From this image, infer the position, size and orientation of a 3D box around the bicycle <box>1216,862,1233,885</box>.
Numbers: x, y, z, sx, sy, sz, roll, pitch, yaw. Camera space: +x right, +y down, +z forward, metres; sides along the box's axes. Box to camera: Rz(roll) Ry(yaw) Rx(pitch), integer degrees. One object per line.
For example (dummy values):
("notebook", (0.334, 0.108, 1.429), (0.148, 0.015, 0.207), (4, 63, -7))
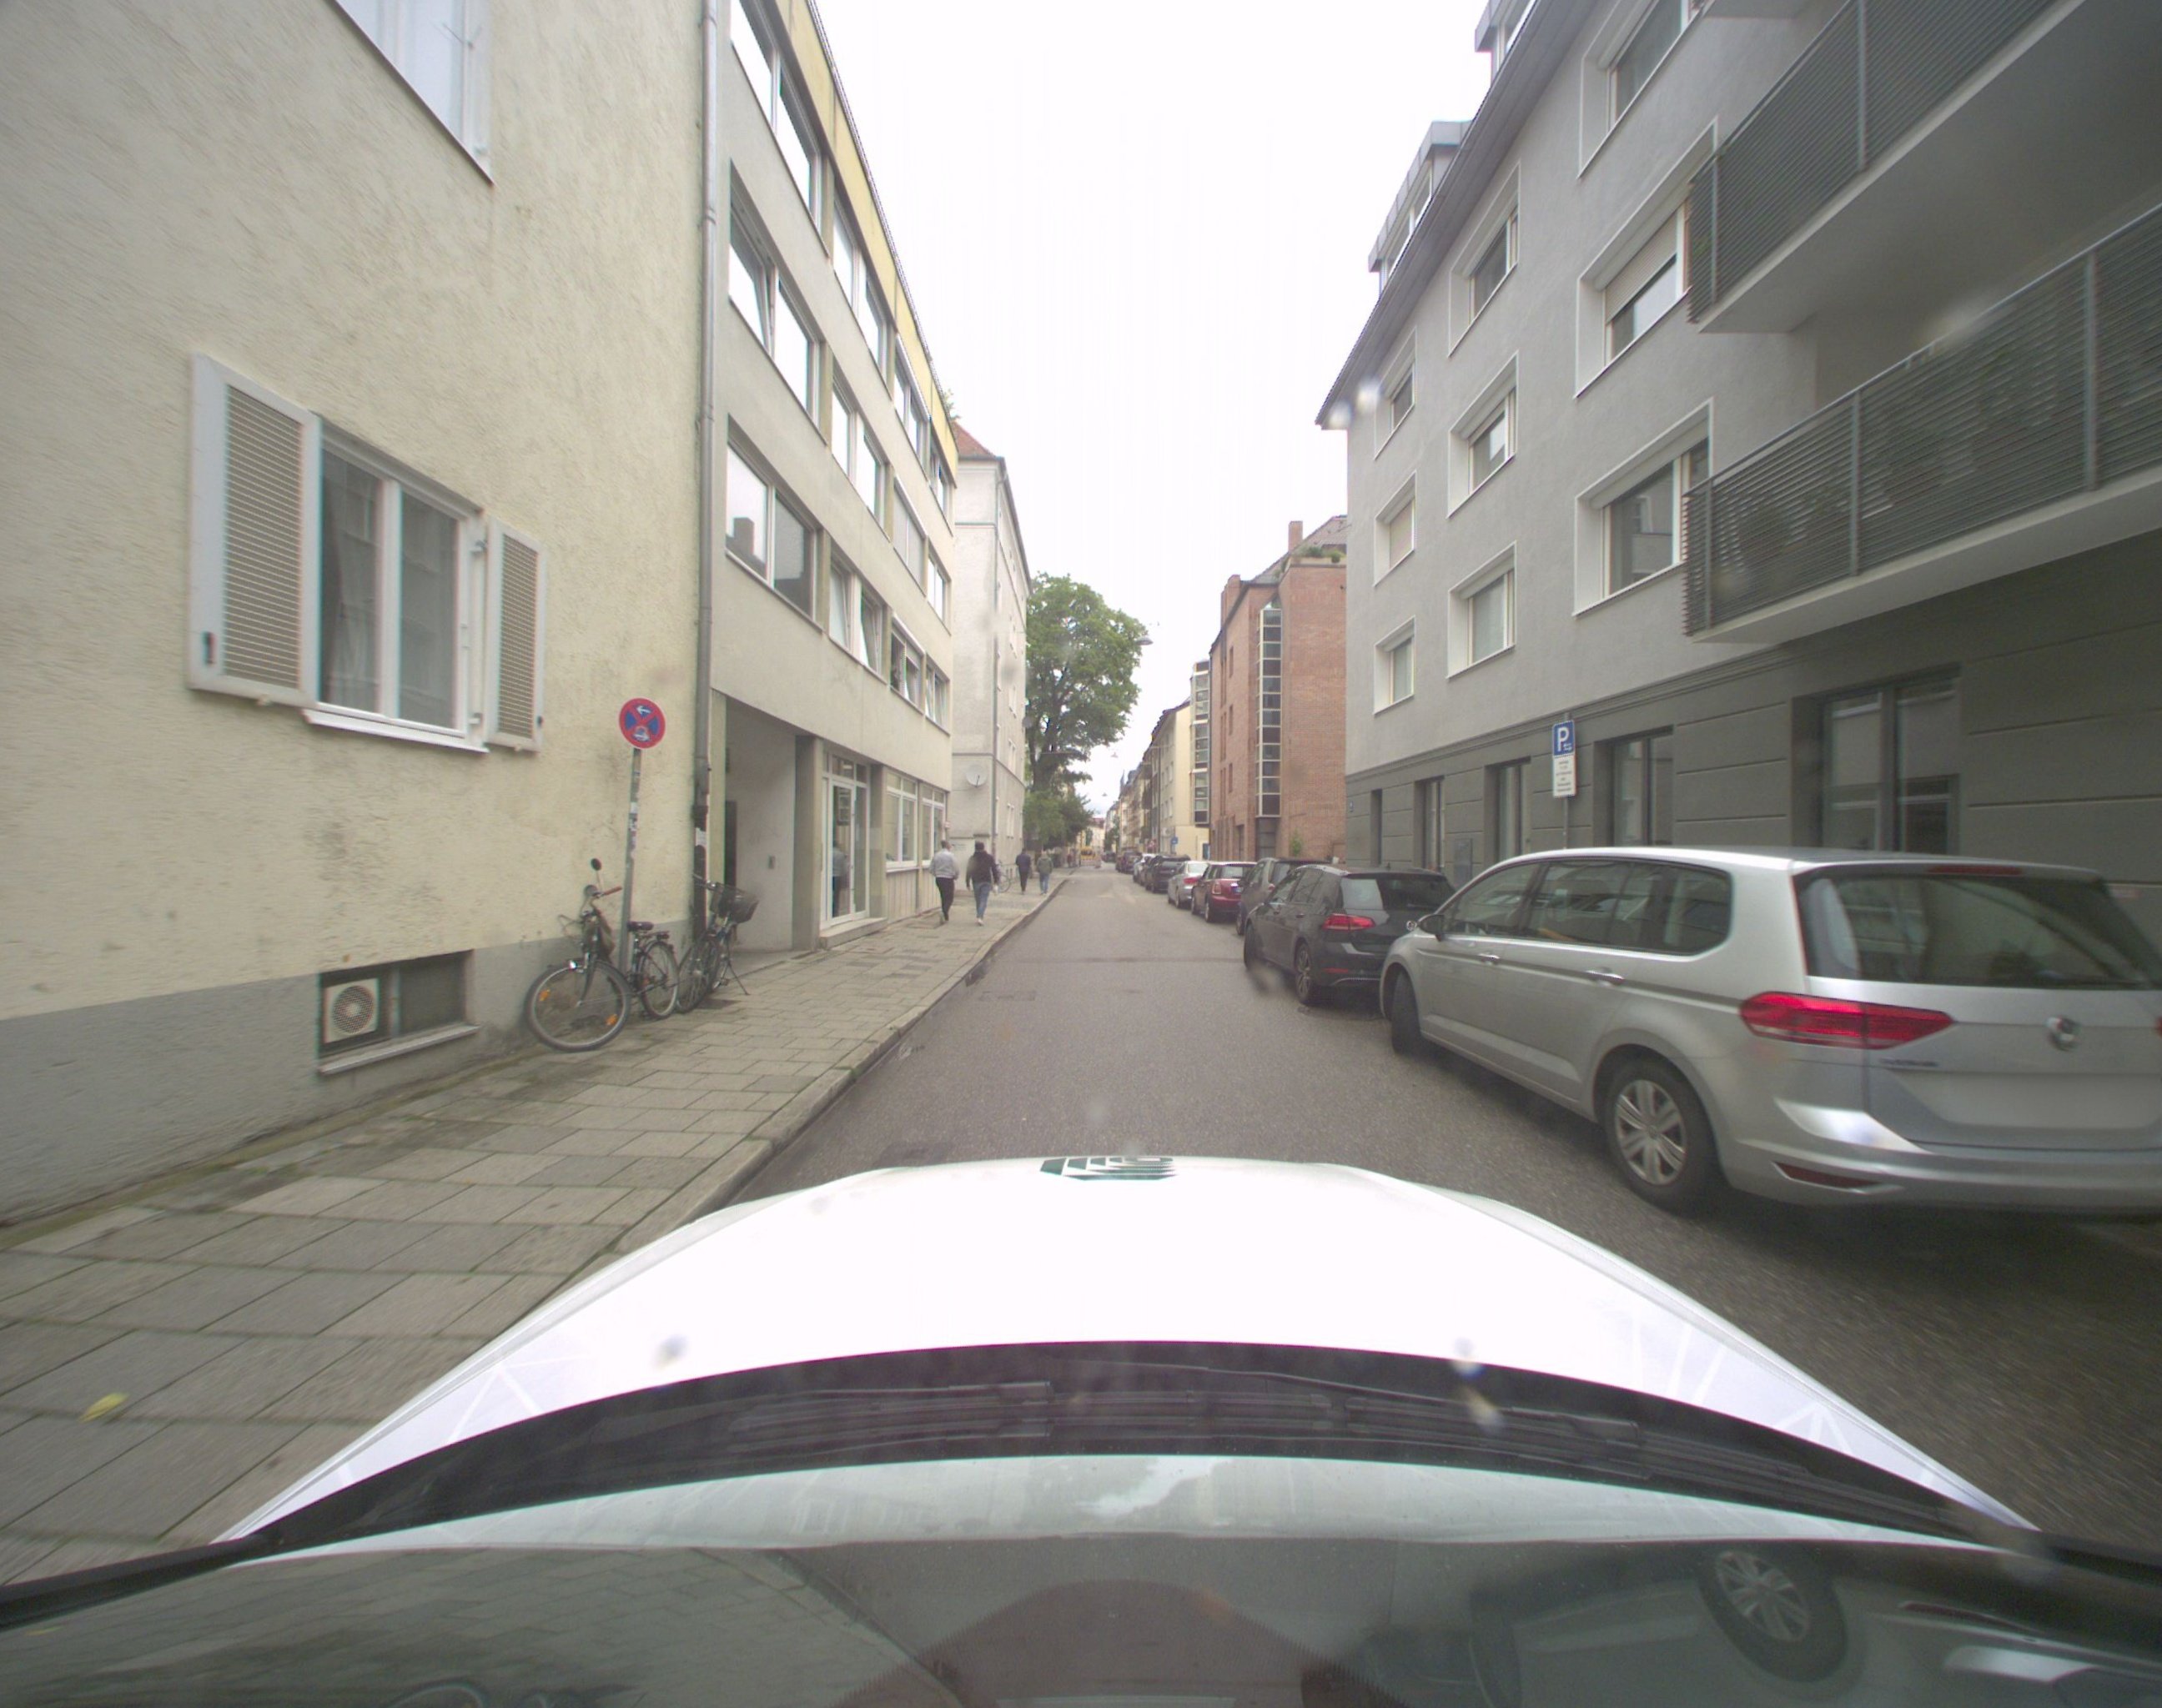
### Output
("bicycle", (6.834, 0.927, 38.879), (0.557, 1.079, 1.472), (1, 0, 1))

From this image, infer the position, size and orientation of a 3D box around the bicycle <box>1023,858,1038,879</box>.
("bicycle", (-2.828, 0.815, 45.562), (0.474, 1.111, 1.750), (1, 0, -16))

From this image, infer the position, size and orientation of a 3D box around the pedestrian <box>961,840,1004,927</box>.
("pedestrian", (-2.053, 0.608, 17.135), (0.716, 1.765, 0.838), (2, -1, 1))

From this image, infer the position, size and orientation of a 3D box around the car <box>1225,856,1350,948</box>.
("car", (3.781, 0.817, 15.373), (1.516, 1.511, 3.201), (1, 0, 0))

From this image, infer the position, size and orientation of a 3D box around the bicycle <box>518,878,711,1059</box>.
("bicycle", (-3.496, 0.794, 6.270), (0.456, 1.159, 1.606), (3, -1, 2))

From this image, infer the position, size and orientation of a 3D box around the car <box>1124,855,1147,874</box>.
("car", (4.452, 0.855, 66.815), (1.619, 1.487, 3.809), (1, 0, 1))

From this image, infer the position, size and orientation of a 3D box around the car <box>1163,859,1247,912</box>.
("car", (3.665, 0.887, 24.842), (1.831, 1.417, 4.600), (1, 0, 0))

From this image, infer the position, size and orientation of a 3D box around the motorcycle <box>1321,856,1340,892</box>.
("motorcycle", (9.457, 0.744, 30.914), (0.536, 1.345, 1.947), (-1, -1, 12))

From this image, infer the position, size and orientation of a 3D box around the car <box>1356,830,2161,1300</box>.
("car", (3.358, 0.713, 4.940), (1.870, 1.570, 4.314), (-1, 0, -1))

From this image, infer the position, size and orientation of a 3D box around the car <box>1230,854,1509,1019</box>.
("car", (3.116, 0.782, 9.826), (1.834, 1.528, 4.292), (1, 0, 0))

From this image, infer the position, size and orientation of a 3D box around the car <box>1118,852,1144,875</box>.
("car", (4.357, 0.766, 71.177), (1.796, 1.820, 3.998), (4, 0, -1))

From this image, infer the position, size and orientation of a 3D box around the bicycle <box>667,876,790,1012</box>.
("bicycle", (-3.391, 0.810, 7.986), (0.561, 1.159, 1.718), (1, -1, -5))

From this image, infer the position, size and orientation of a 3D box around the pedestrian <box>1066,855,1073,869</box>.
("pedestrian", (-1.263, 0.857, 88.221), (0.753, 1.491, 0.831), (0, -1, 1))

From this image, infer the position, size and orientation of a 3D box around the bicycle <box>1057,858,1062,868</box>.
("bicycle", (-2.259, 0.949, 84.980), (0.445, 1.073, 2.467), (0, -1, -1))

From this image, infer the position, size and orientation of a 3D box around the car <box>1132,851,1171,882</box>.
("car", (3.846, 0.681, 45.046), (1.743, 1.630, 4.194), (0, 0, -1))

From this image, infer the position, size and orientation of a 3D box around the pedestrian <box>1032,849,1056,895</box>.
("pedestrian", (-1.387, 0.681, 30.688), (0.750, 1.659, 0.906), (3, -1, 1))

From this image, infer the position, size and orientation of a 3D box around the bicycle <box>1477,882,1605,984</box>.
("bicycle", (5.760, 0.940, 10.334), (0.567, 1.091, 1.997), (0, 0, 2))

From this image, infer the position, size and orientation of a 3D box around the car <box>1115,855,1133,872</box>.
("car", (4.385, 0.940, 83.059), (1.630, 1.515, 3.829), (4, 0, 0))

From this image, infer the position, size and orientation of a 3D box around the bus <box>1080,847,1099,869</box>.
("bus", (1.278, 0.545, 116.836), (2.583, 3.102, 6.307), (0, -1, 1))

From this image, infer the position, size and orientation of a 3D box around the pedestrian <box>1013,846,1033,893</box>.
("pedestrian", (-2.183, 0.576, 30.583), (0.610, 1.713, 0.823), (3, -1, 0))

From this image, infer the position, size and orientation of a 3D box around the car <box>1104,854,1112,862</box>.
("car", (5.840, 0.849, 177.265), (1.795, 1.614, 4.001), (1, 0, 1))

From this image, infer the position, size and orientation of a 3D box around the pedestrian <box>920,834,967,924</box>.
("pedestrian", (-2.842, 0.514, 16.900), (0.716, 1.796, 0.917), (2, -1, 1))

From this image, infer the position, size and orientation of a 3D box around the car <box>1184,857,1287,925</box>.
("car", (3.717, 0.836, 20.242), (1.740, 1.462, 4.149), (1, 0, 0))

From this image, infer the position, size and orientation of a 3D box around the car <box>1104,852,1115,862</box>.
("car", (5.236, 0.535, 148.964), (1.796, 1.712, 3.825), (4, 0, -1))

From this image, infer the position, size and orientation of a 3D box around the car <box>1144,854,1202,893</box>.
("car", (3.825, 0.781, 34.690), (1.880, 1.555, 4.389), (1, 0, -1))

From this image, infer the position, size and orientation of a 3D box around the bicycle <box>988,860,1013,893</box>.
("bicycle", (-3.070, 0.838, 30.951), (0.643, 1.217, 1.654), (0, -1, -18))

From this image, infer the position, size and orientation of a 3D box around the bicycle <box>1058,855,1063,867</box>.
("bicycle", (-2.410, 0.799, 97.787), (0.512, 1.418, 1.934), (0, -1, 1))
